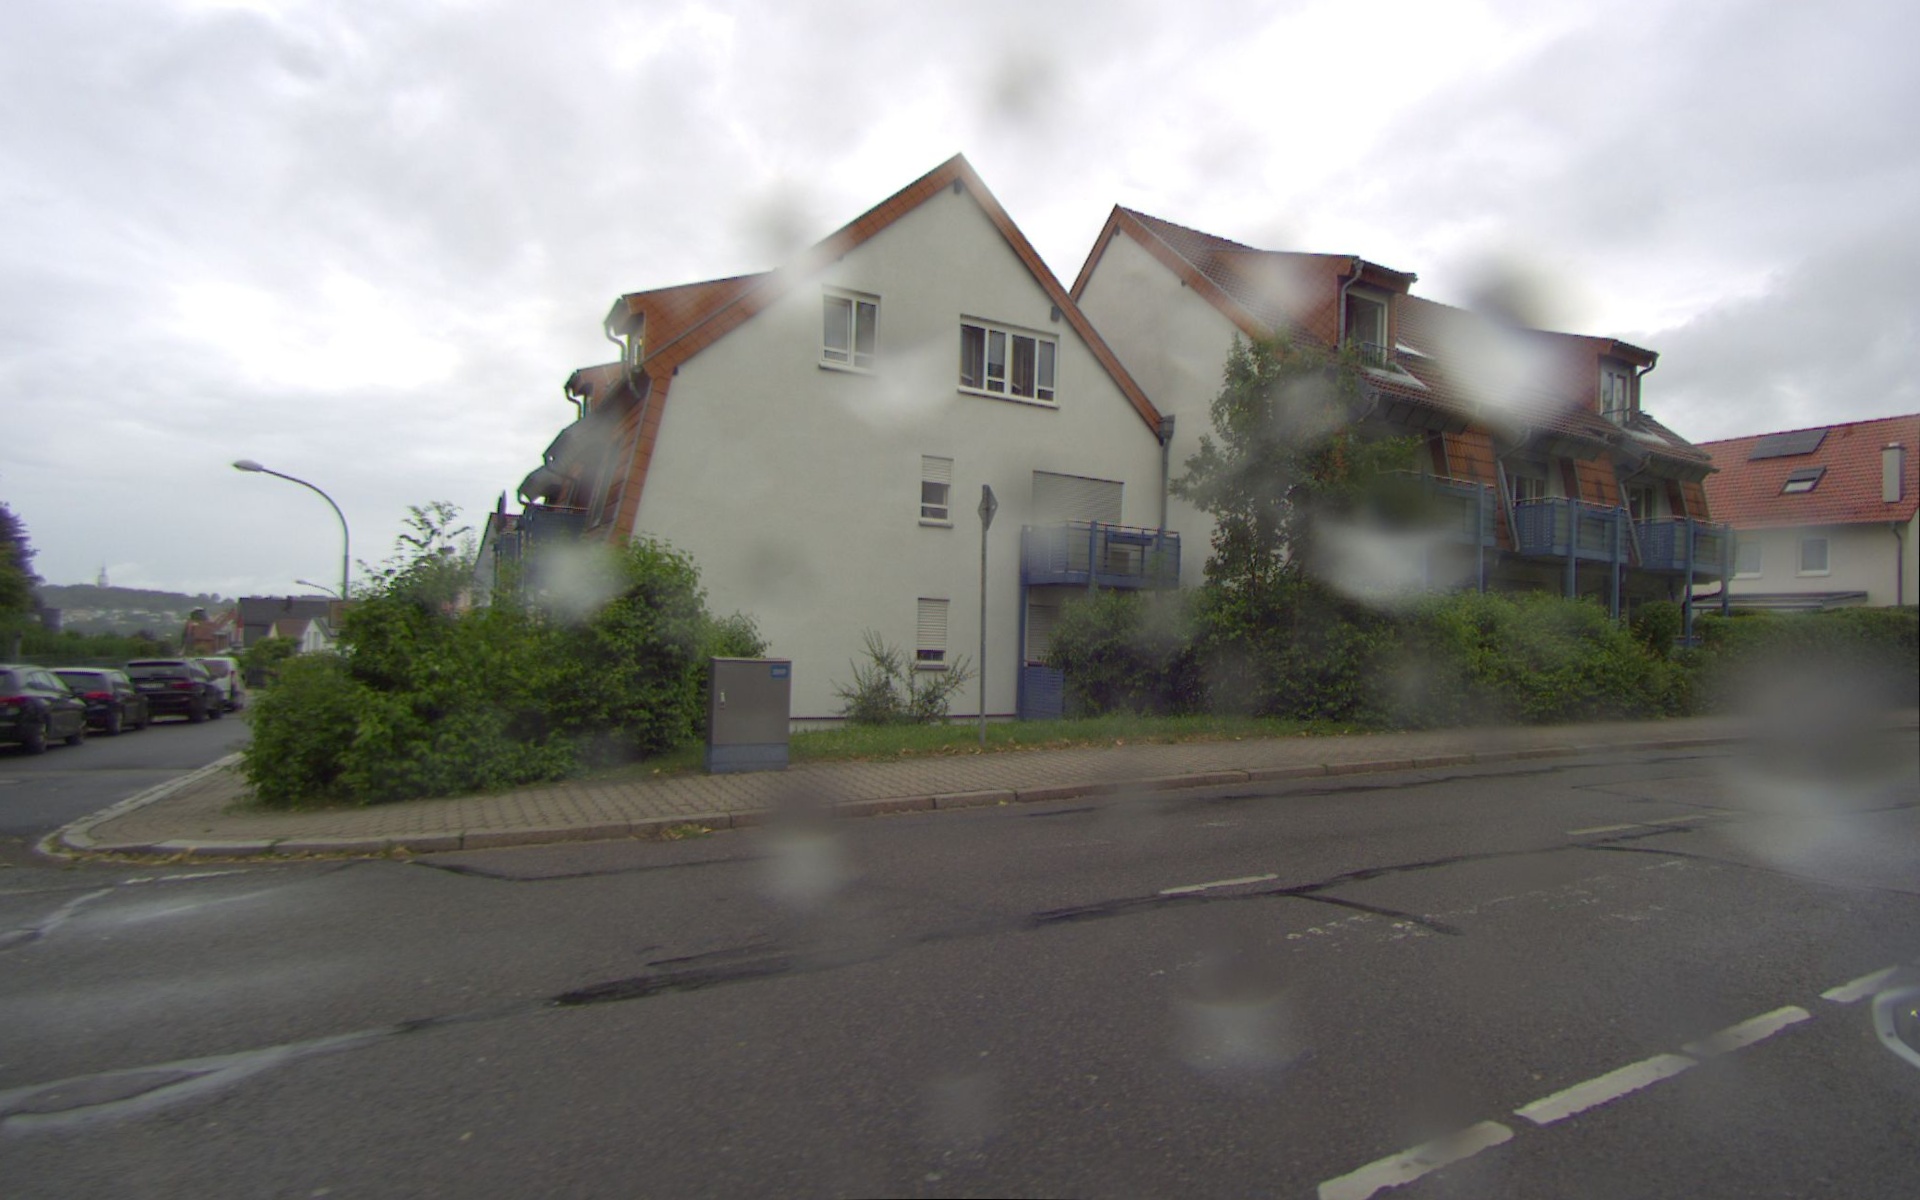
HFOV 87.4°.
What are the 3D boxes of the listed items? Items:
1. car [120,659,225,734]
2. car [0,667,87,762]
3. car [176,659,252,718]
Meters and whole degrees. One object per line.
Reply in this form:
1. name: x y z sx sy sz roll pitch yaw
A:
1. car: -21.734 2.641 27.864 1.718 1.887 3.969 1 -5 -31
2. car: -16.601 1.916 17.337 1.720 1.461 3.965 2 -4 -33
3. car: -26.454 3.097 35.726 1.718 1.953 3.969 1 -4 -31
